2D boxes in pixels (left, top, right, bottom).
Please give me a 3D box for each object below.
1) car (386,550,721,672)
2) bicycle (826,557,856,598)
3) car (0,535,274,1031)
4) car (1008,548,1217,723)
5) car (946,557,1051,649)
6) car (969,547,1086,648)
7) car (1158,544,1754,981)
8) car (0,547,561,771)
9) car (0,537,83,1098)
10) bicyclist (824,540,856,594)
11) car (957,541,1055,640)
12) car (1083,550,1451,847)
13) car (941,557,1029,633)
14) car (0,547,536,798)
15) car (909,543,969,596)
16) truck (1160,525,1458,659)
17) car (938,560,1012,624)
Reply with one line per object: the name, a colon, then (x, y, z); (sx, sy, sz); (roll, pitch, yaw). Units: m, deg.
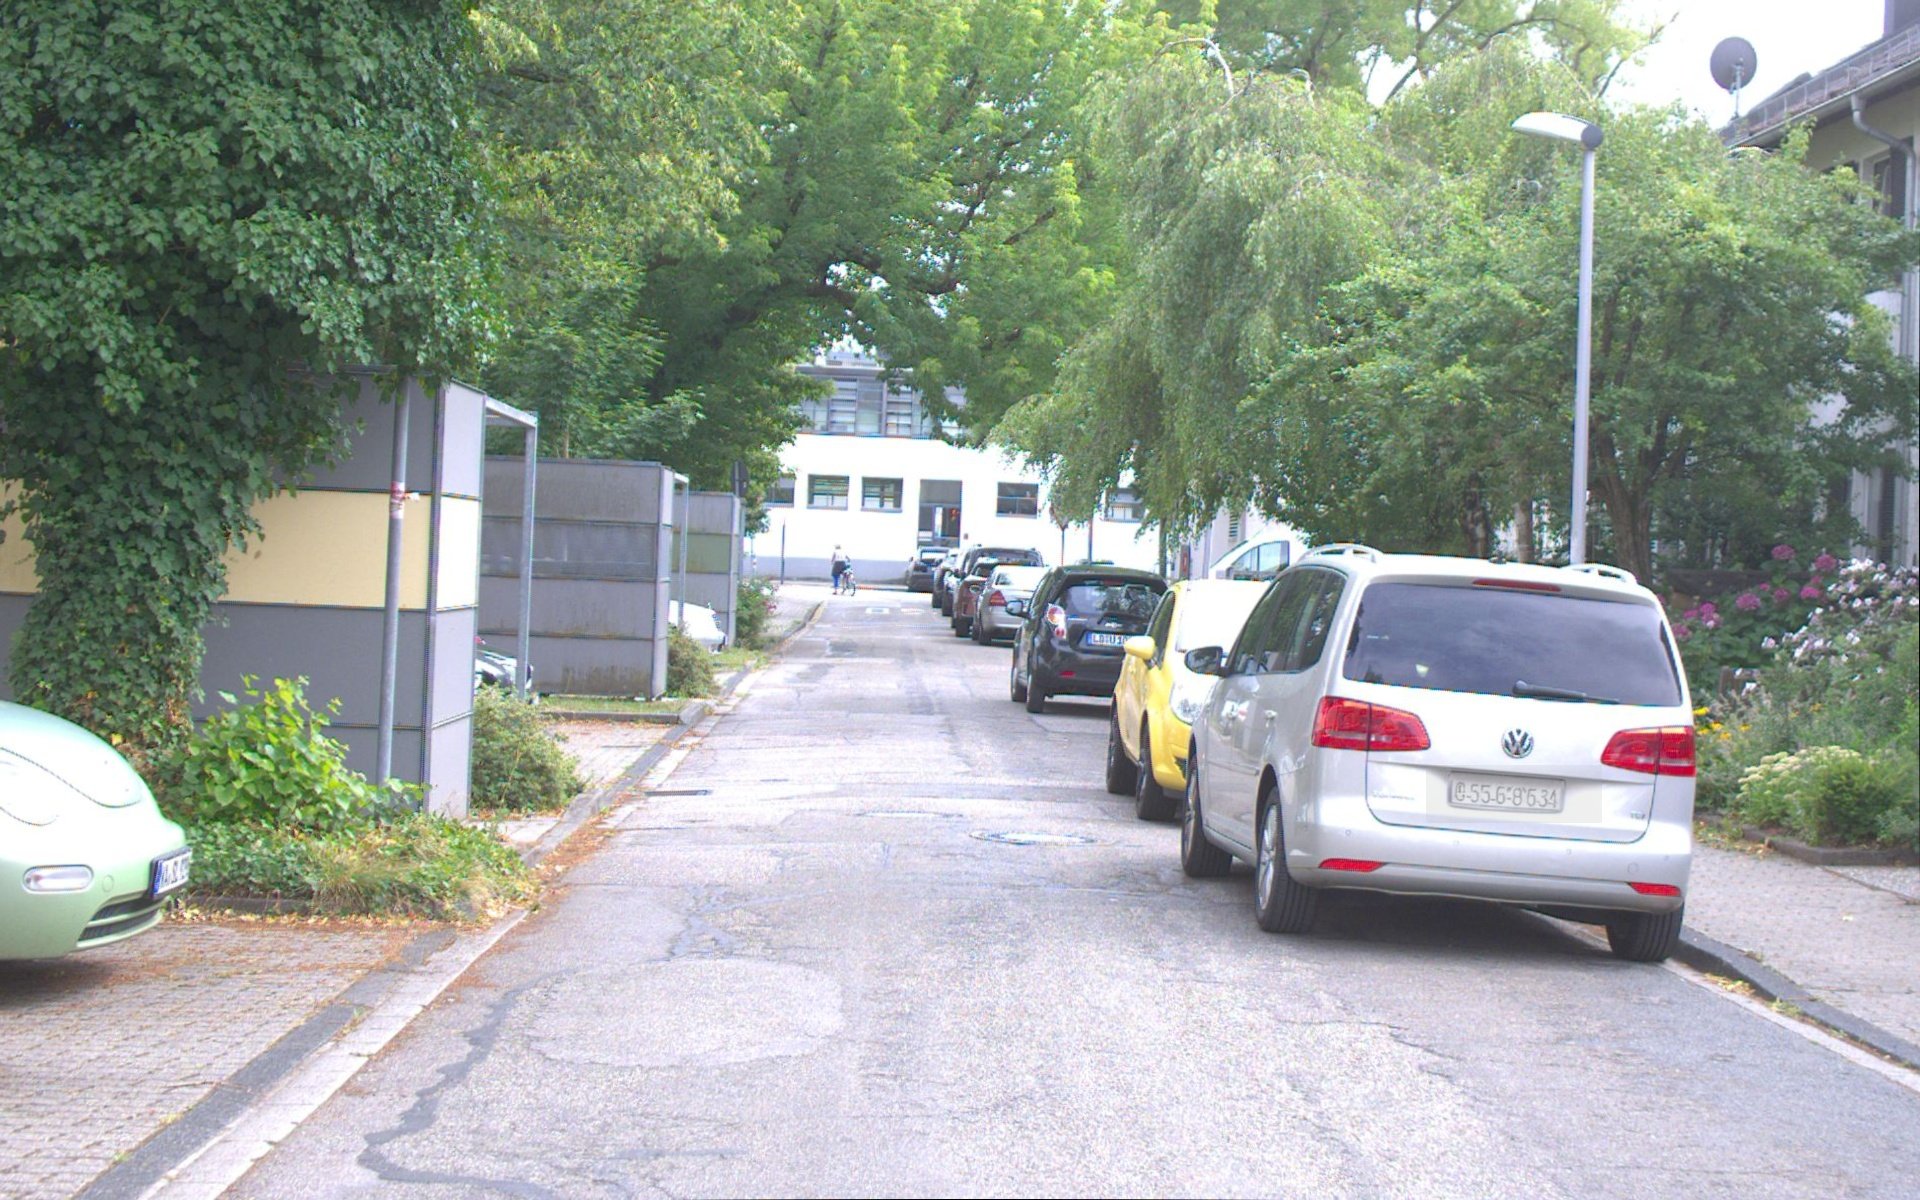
car: (-5.093, 0.125, 43.438); (4.031, 1.389, 1.738); (2, 1, -2)
bicycle: (-3.498, -0.659, 100.897); (0.689, 1.127, 2.579); (4, 1, -4)
car: (-4.673, 0.491, 11.396); (4.412, 1.497, 1.841); (2, 1, -1)
car: (1.522, 0.315, 35.823); (1.825, 1.576, 4.193); (5, 1, -1)
car: (0.720, 0.027, 66.443); (1.825, 1.576, 4.000); (5, 1, -1)
car: (1.158, -0.073, 60.716); (1.825, 1.576, 4.000); (5, 1, -1)
car: (2.068, 0.610, 15.506); (1.825, 1.576, 4.001); (4, 1, -3)
car: (-4.973, 0.401, 24.847); (3.986, 1.459, 1.738); (2, 1, -2)
car: (-4.744, 0.520, 8.986); (4.412, 1.497, 1.841); (2, 1, -1)
bicyclist: (-3.531, -0.968, 100.960); (0.798, 1.506, 0.934); (4, 0, -4)
car: (0.943, -0.226, 72.474); (1.825, 1.877, 4.000); (5, 1, -1)
car: (1.848, 0.542, 21.920); (1.825, 1.576, 4.000); (5, 1, -1)
car: (0.607, -0.145, 85.693); (1.993, 1.714, 4.194); (4, 1, -1)
car: (-4.832, 0.432, 22.138); (3.986, 1.459, 1.738); (2, 1, -2)
car: (-0.712, -1.005, 113.152); (1.825, 1.576, 4.000); (5, 1, -1)
truck: (5.438, -0.134, 53.979); (4.390, 2.007, 2.000); (1, 1, -2)
car: (0.408, -0.249, 100.907); (1.993, 1.714, 4.194); (4, 1, -1)
